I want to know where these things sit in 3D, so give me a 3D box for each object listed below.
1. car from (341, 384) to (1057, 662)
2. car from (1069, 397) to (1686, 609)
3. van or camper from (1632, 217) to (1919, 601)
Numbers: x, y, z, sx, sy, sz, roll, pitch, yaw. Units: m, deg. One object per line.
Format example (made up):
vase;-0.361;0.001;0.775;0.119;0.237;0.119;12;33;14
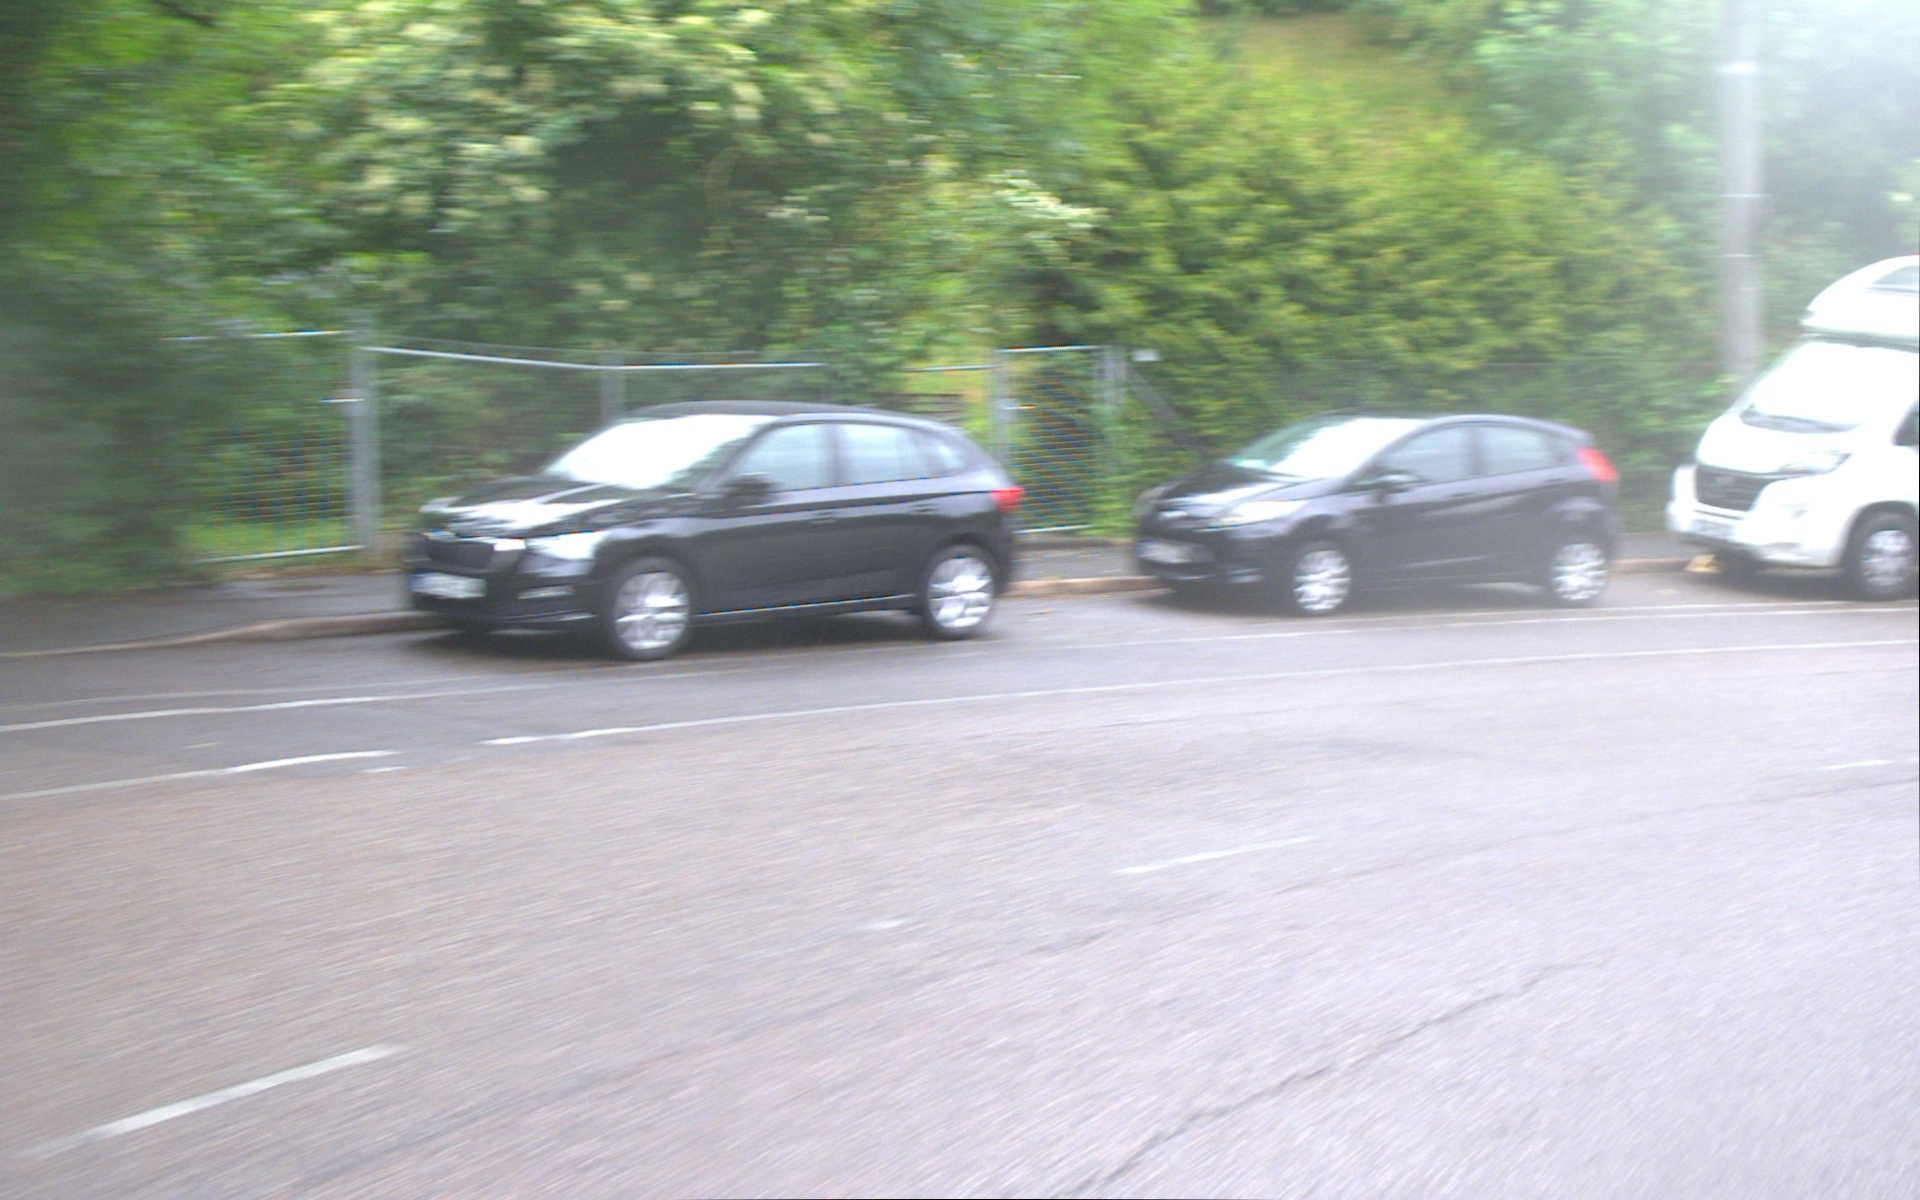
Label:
car;-1.526;-0.537;21.307;1.783;1.460;4.302;7;7;43
car;3.115;-0.724;25.400;4.299;1.351;1.760;-1;6;-32
van or camper;9.563;-1.625;28.791;7.634;2.921;2.203;-1;7;-22
